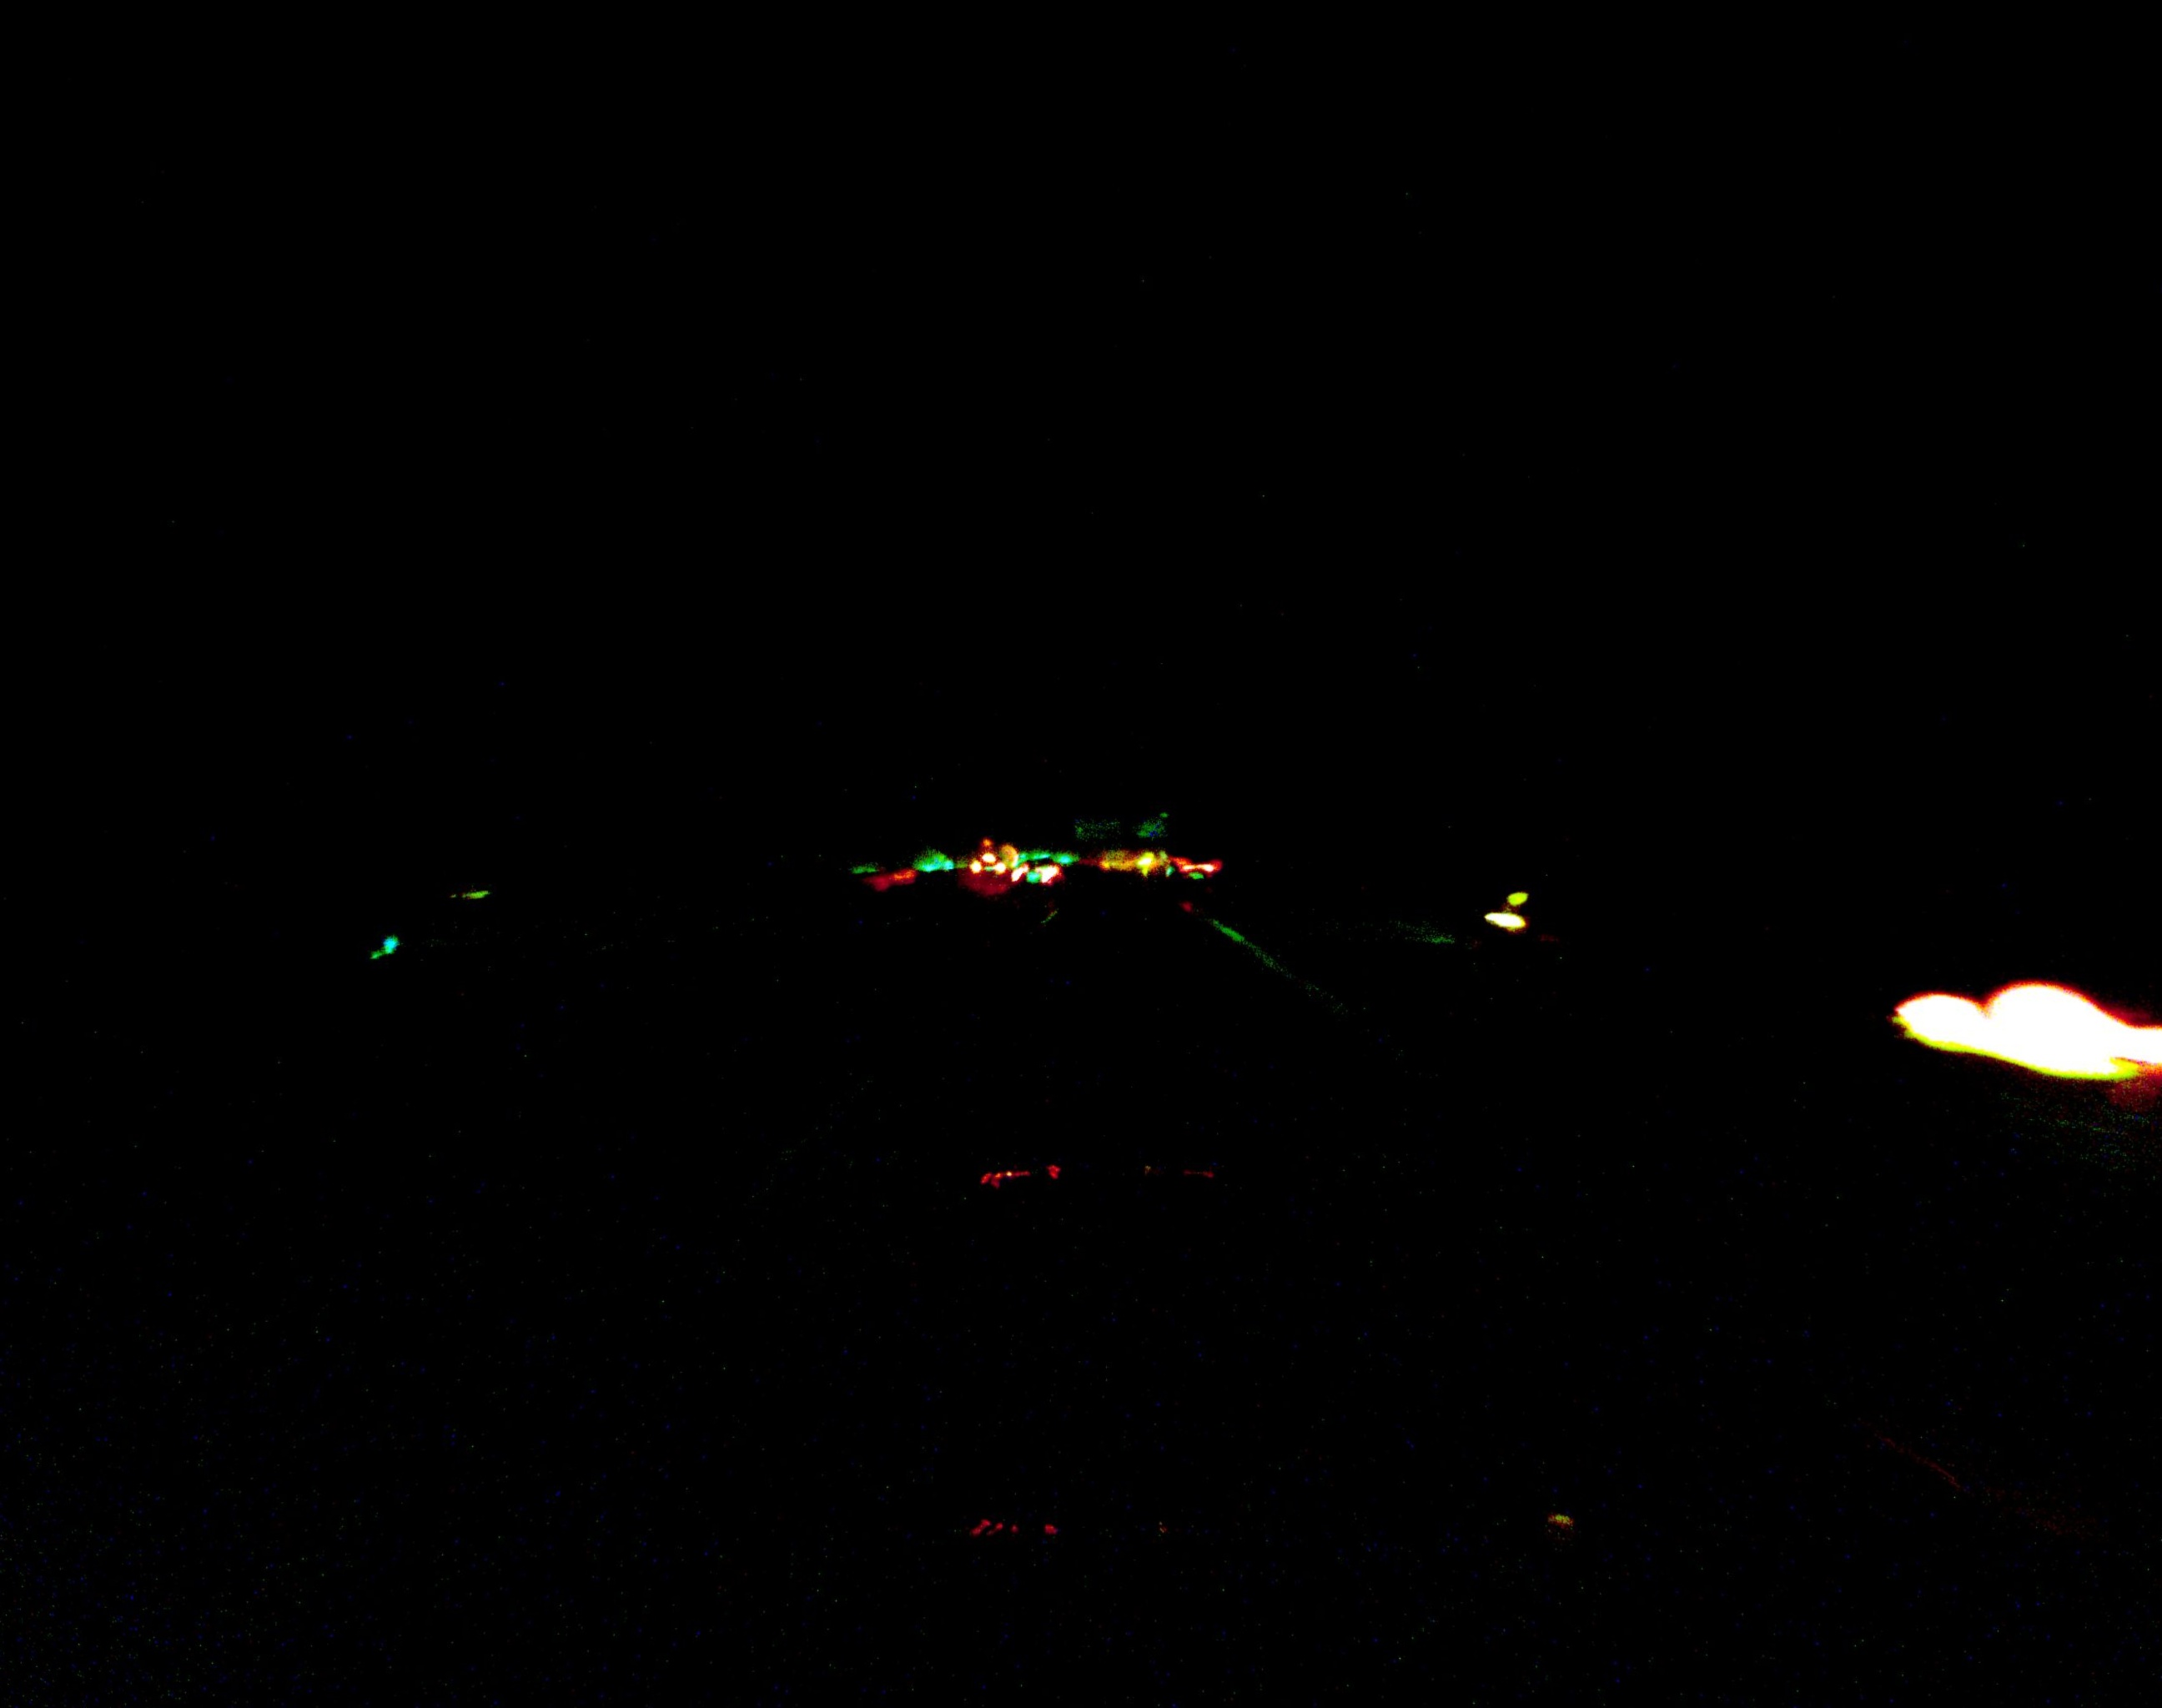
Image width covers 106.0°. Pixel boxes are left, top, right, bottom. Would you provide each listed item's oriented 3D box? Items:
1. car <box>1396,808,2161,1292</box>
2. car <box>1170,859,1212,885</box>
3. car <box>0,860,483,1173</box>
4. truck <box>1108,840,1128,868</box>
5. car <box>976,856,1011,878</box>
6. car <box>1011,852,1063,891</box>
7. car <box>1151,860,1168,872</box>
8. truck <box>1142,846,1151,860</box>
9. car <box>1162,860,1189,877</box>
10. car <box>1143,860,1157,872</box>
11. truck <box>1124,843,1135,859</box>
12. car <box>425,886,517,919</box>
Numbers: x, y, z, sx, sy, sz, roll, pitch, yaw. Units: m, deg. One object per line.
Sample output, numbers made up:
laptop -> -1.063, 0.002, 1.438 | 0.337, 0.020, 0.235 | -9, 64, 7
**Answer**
car -> 3.924, 0.594, 5.080 | 2.050, 1.519, 5.016 | -1, 0, 1
car -> 5.369, 0.864, 40.009 | 1.576, 1.246, 3.067 | 0, -1, -1
car -> -6.330, 0.845, 4.835 | 1.851, 1.540, 4.754 | -1, 0, 3
truck -> 4.343, 0.071, 94.477 | 1.985, 3.043, 6.472 | -4, -1, 4
car -> -5.413, 0.815, 50.629 | 1.656, 1.236, 3.761 | -4, -1, 1
car -> -1.809, 0.691, 34.526 | 1.794, 1.487, 4.003 | -1, 0, 3
car -> 8.665, 1.320, 89.921 | 1.576, 1.246, 3.067 | 0, -1, -1
truck -> 15.217, -0.265, 189.292 | 1.985, 3.043, 6.472 | -4, -1, 4
car -> 6.969, 1.078, 60.022 | 1.576, 1.246, 3.067 | 0, -1, -1
car -> 9.475, 1.591, 112.027 | 1.854, 1.618, 4.004 | 0, -1, 4
truck -> 10.073, -0.528, 168.432 | 1.985, 3.043, 6.472 | -4, -1, 4
car -> -38.477, 3.002, 51.511 | 1.983, 1.771, 4.579 | -1, 0, 7
